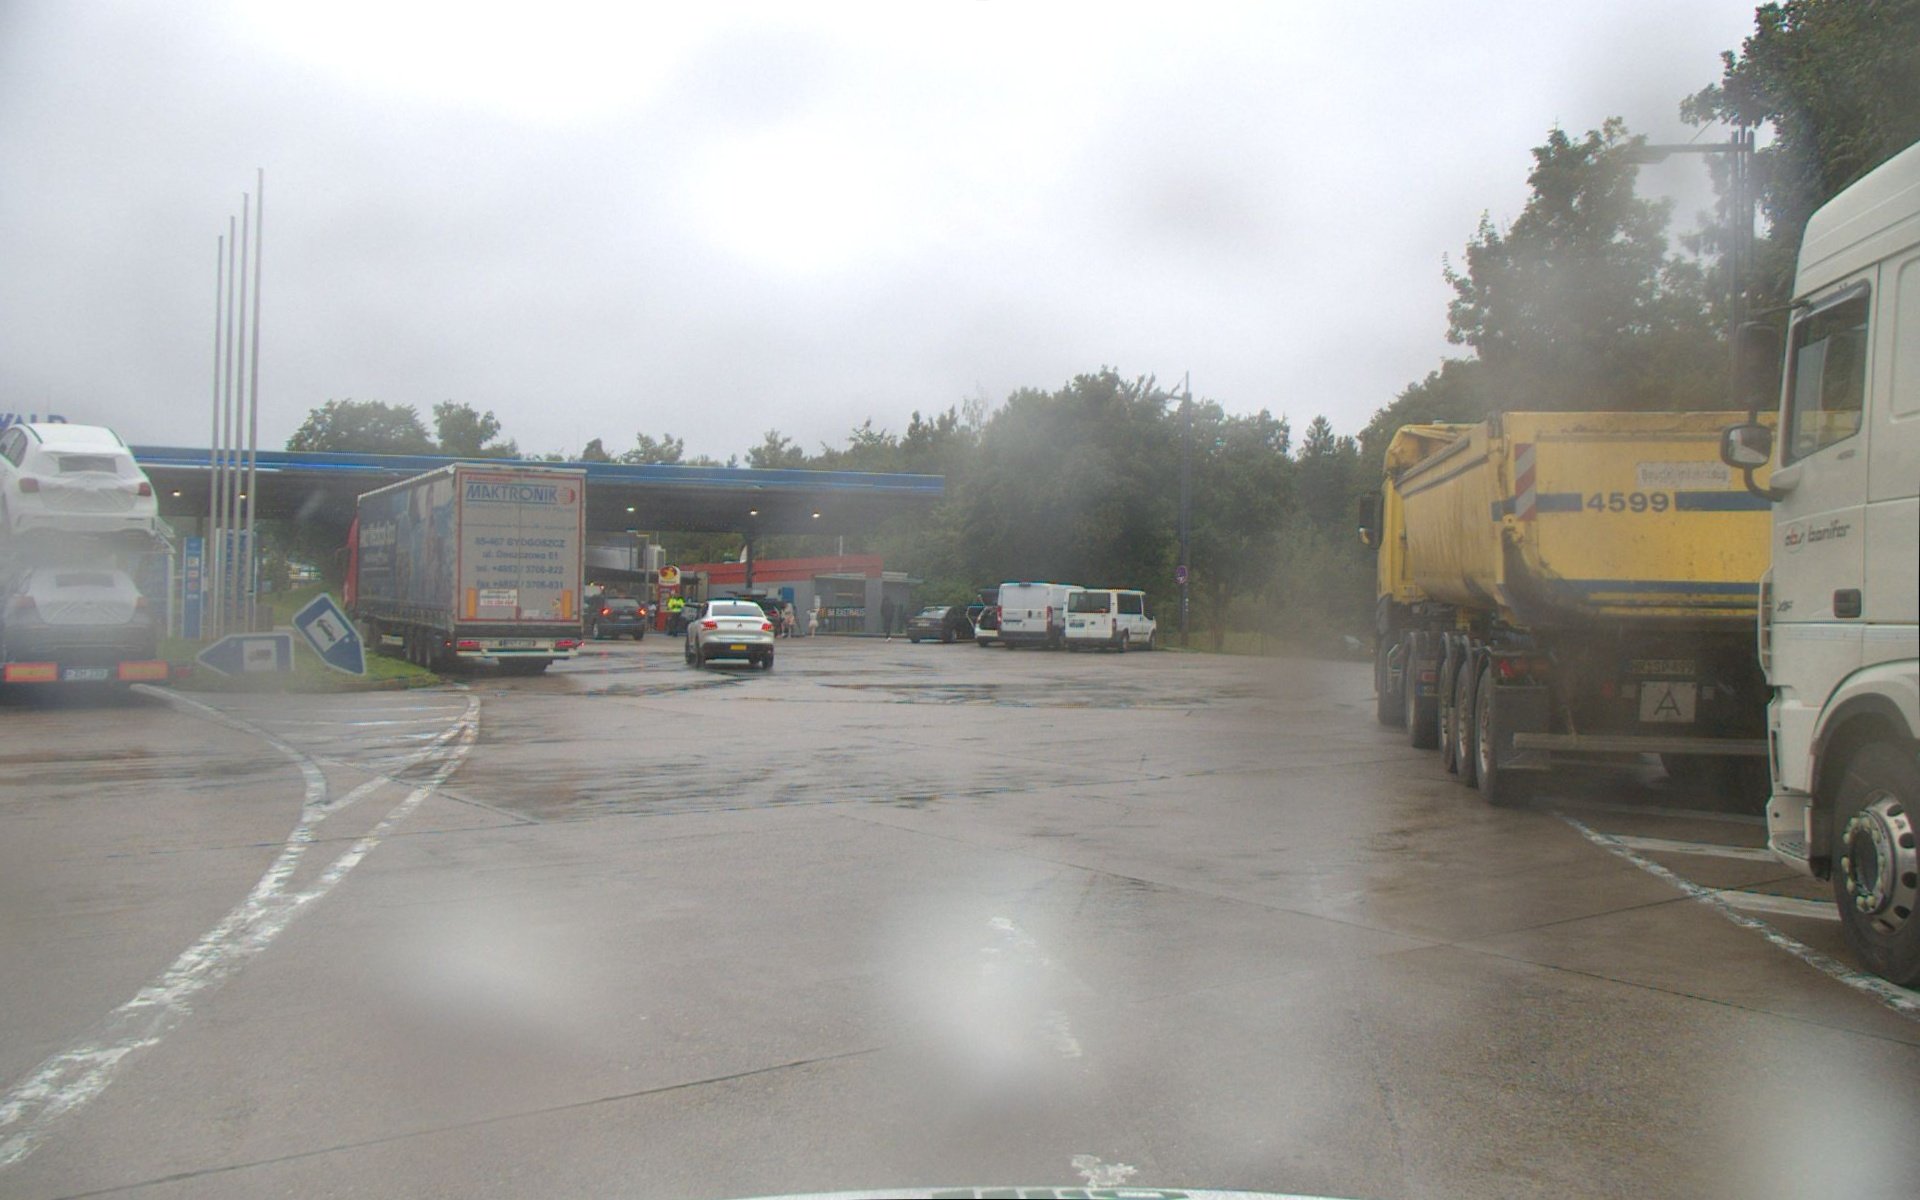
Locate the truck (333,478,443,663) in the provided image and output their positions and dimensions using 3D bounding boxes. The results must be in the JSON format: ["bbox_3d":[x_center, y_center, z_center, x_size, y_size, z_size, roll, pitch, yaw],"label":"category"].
[{"bbox_3d":[-15.224,-0.708,43.898,1.965,4.629,4.750,2,-1,-28],"label":"truck"}]

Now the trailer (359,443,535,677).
[{"bbox_3d":[-11.831,-0.753,37.500,1.971,4.639,9.718,2,-1,-28],"label":"trailer"}]

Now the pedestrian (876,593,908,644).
[{"bbox_3d":[-2.630,0.714,64.306,0.933,1.953,1.089,1,0,16],"label":"pedestrian"}]

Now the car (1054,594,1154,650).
[{"bbox_3d":[4.778,0.710,54.395,2.071,1.758,3.998,0,0,24],"label":"car"}]

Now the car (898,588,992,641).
[{"bbox_3d":[-0.534,0.544,63.502,2.071,1.971,4.189,0,0,24],"label":"car"}]

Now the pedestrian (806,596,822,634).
[{"bbox_3d":[-6.050,0.630,68.610,0.597,1.566,0.593,1,-2,-10],"label":"pedestrian"}]

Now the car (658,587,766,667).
[{"bbox_3d":[-5.796,0.618,38.306,1.961,1.709,3.982,2,-1,-16],"label":"car"}]

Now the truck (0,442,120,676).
[{"bbox_3d":[-19.603,-0.791,33.847,3.205,4.262,8.344,2,-1,-34],"label":"truck"}]

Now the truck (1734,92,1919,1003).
[{"bbox_3d":[4.776,-0.205,5.901,2.101,3.574,4.648,1,0,4],"label":"truck"}]

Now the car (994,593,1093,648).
[{"bbox_3d":[2.885,0.679,56.374,2.071,1.758,3.998,0,0,24],"label":"car"}]

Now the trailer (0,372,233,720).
[{"bbox_3d":[-14.117,-0.700,25.610,3.187,4.262,11.393,2,-1,-34],"label":"trailer"}]

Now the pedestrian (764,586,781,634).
[{"bbox_3d":[-8.236,0.426,72.631,0.576,2.049,0.635,3,-4,-12],"label":"pedestrian"}]

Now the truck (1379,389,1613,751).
[{"bbox_3d":[6.330,-0.327,20.014,2.134,3.895,4.145,0,0,10],"label":"truck"}]

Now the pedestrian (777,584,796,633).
[{"bbox_3d":[-7.496,0.387,71.503,0.656,2.049,0.742,3,-4,-3],"label":"pedestrian"}]

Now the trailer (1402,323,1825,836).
[{"bbox_3d":[5.451,-0.140,15.058,2.136,3.452,7.570,0,0,10],"label":"trailer"}]

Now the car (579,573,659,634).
[{"bbox_3d":[-12.903,0.156,62.517,1.969,2.049,3.966,4,-4,-26],"label":"car"}]

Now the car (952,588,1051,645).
[{"bbox_3d":[1.533,0.570,59.436,2.071,1.971,4.189,0,0,24],"label":"car"}]

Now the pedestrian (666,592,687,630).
[{"bbox_3d":[-11.982,0.470,69.947,0.704,1.548,0.742,3,-4,-3],"label":"pedestrian"}]
